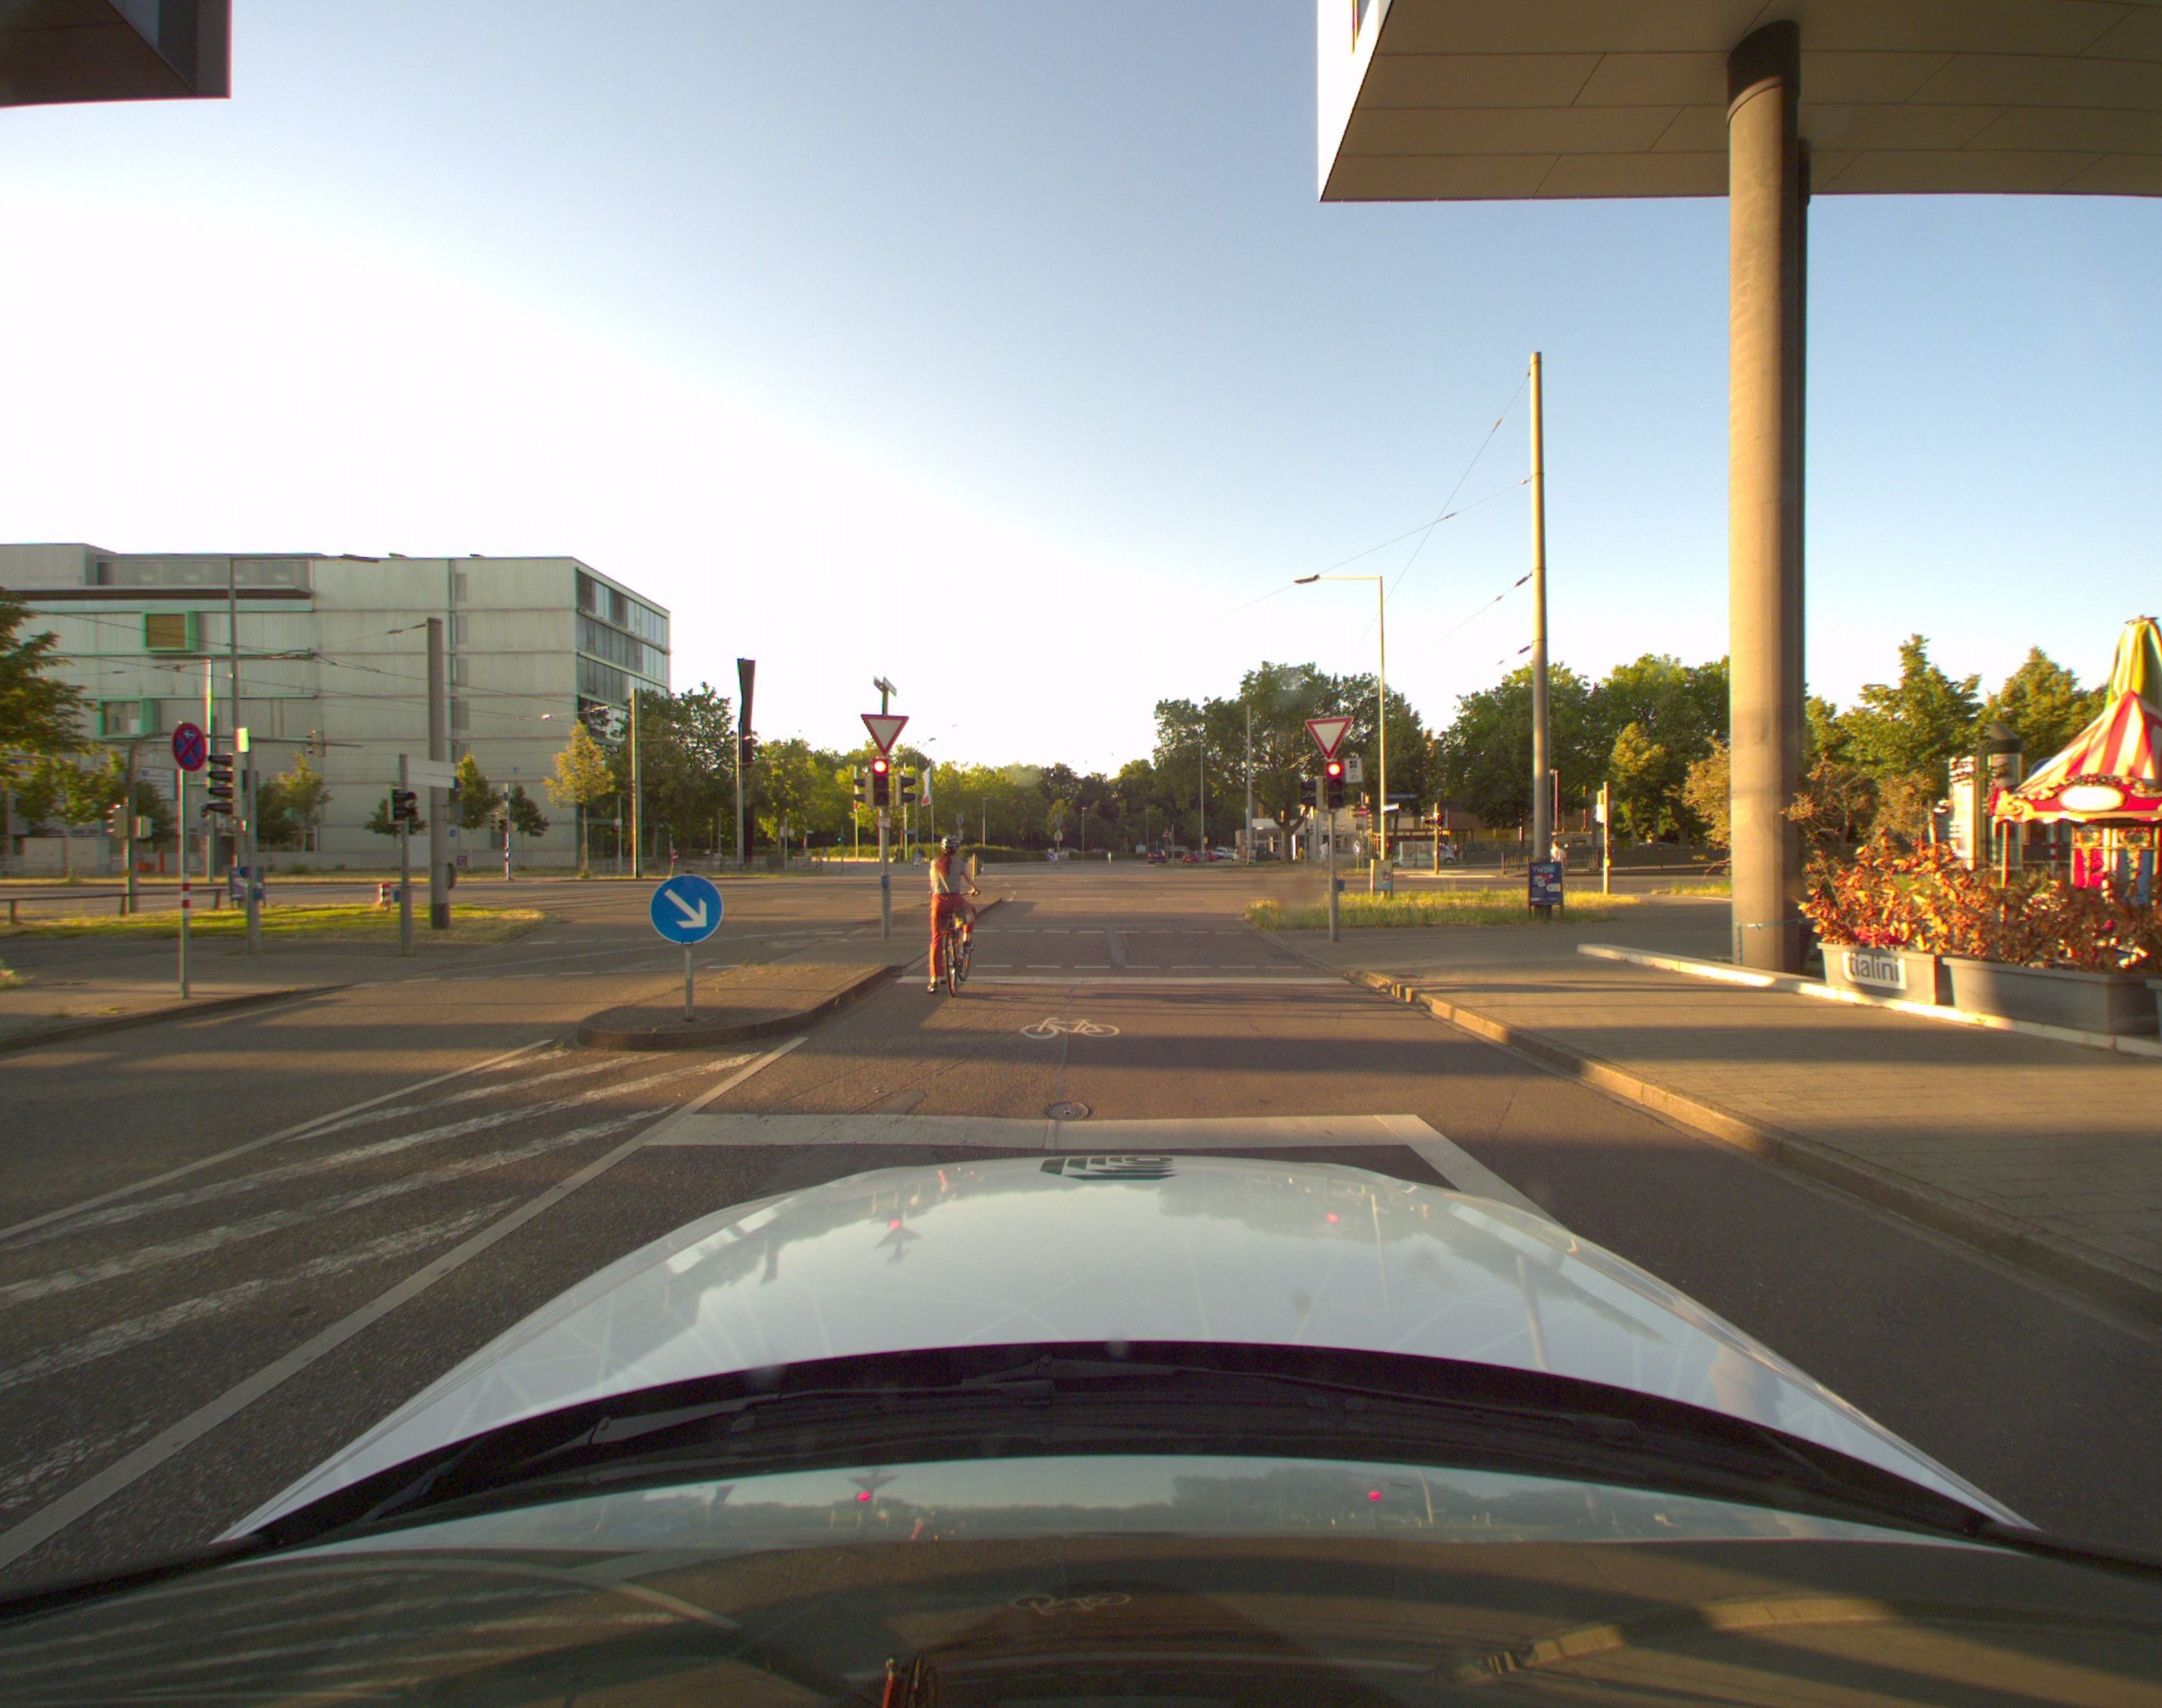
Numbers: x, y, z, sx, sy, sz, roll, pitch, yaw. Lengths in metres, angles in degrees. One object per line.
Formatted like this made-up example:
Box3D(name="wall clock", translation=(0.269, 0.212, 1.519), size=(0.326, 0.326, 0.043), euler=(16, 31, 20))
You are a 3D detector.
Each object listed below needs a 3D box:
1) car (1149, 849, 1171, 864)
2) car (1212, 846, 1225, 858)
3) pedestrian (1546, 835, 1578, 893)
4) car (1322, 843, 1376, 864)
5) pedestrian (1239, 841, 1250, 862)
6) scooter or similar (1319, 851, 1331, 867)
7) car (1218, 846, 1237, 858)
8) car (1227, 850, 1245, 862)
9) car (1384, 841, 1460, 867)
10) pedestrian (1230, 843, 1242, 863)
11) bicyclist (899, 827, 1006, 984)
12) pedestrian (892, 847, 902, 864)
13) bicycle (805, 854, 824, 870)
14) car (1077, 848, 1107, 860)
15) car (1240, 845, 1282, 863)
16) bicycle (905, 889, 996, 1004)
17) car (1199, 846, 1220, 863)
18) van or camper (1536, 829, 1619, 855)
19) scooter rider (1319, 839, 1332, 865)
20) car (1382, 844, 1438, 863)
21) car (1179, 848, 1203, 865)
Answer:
Box3D(name="car", translation=(8.898, 0.306, 91.287), size=(1.742, 1.541, 4.418), euler=(-1, -1, 15))
Box3D(name="car", translation=(22.074, -0.337, 130.874), size=(1.982, 2.013, 4.010), euler=(-1, 0, 9))
Box3D(name="pedestrian", translation=(15.152, 0.301, 25.691), size=(0.755, 1.791, 0.806), euler=(0, 0, 22))
Box3D(name="car", translation=(23.657, -0.038, 72.085), size=(4.211, 1.846, 2.002), euler=(-1, 0, 4))
Box3D(name="pedestrian", translation=(13.621, -0.235, 67.810), size=(0.712, 1.754, 0.903), euler=(-1, 0, 26))
Box3D(name="scooter or similar", translation=(17.350, 0.333, 57.845), size=(0.508, 1.090, 1.243), euler=(-1, 0, 2))
Box3D(name="car", translation=(24.372, -0.318, 135.359), size=(1.975, 2.013, 4.024), euler=(-1, 0, 27))
Box3D(name="car", translation=(21.961, 0.271, 115.175), size=(1.899, 1.602, 4.020), euler=(0, 0, 20))
Box3D(name="car", translation=(23.655, -0.029, 56.521), size=(4.523, 1.728, 1.860), euler=(-1, 0, -3))
Box3D(name="pedestrian", translation=(12.971, -0.089, 68.187), size=(0.712, 1.639, 0.903), euler=(-1, 0, 26))
Box3D(name="bicyclist", translation=(-1.455, 0.564, 9.423), size=(1.028, 1.717, 0.996), euler=(-1, 0, 1))
Box3D(name="pedestrian", translation=(-18.860, 0.122, 83.505), size=(0.898, 1.754, 0.715), euler=(-1, 0, -24))
Box3D(name="bicycle", translation=(-20.727, 0.611, 63.469), size=(0.697, 1.136, 2.392), euler=(-1, 0, -1))
Box3D(name="car", translation=(1.484, -0.024, 109.694), size=(3.970, 1.561, 2.002), euler=(-1, 0, 3))
Box3D(name="car", translation=(19.583, 0.000, 88.685), size=(4.354, 1.835, 1.952), euler=(-1, 0, 6))
Box3D(name="bicycle", translation=(-1.447, 0.996, 9.408), size=(0.632, 1.068, 2.123), euler=(-1, 0, 2))
Box3D(name="car", translation=(16.252, 0.079, 103.126), size=(1.899, 2.047, 4.020), euler=(0, 0, 20))
Box3D(name="van or camper", translation=(47.933, -1.102, 78.762), size=(6.530, 2.410, 2.268), euler=(-1, 0, 6))
Box3D(name="scooter rider", translation=(17.347, -0.153, 57.800), size=(0.699, 1.855, 0.669), euler=(0, -1, 1))
Box3D(name="car", translation=(28.966, -0.063, 71.856), size=(4.211, 1.577, 2.002), euler=(-1, 0, 4))
Box3D(name="car", translation=(12.920, 0.255, 95.585), size=(1.852, 1.874, 3.896), euler=(0, 0, 23))
